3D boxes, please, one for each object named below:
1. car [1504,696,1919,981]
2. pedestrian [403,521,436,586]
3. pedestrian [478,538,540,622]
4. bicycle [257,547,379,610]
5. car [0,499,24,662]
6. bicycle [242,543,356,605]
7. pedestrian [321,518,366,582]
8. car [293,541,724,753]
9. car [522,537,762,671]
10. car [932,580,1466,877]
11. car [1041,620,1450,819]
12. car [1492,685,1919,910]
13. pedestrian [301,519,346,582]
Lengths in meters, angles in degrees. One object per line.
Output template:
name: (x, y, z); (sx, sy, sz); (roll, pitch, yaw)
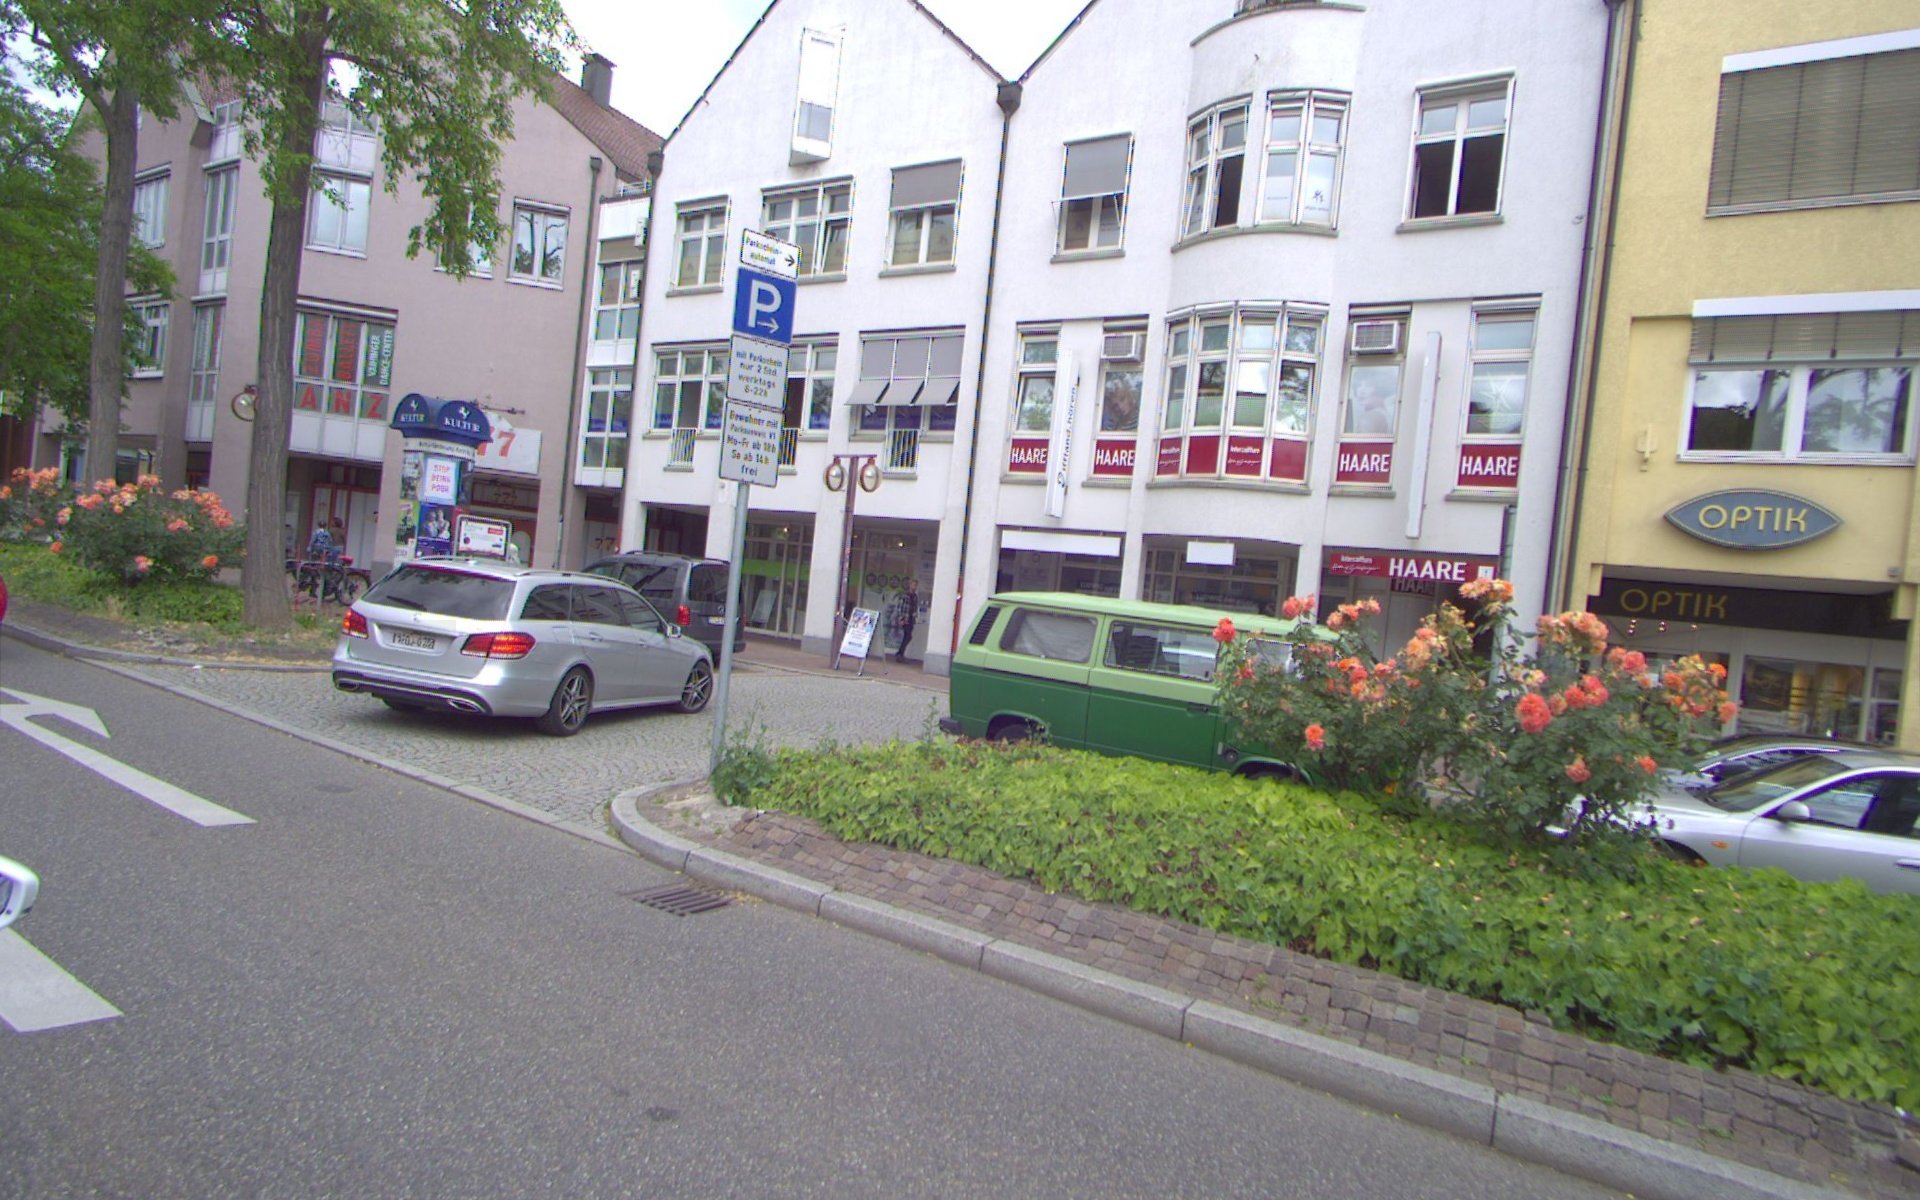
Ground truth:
car: (6.538, 1.772, 7.370); (4.344, 1.468, 1.765); (7, 0, 30)
pedestrian: (-15.083, -1.294, 28.075); (0.631, 1.697, 0.584); (7, 1, -30)
pedestrian: (-9.609, -0.414, 21.443); (0.805, 1.681, 0.789); (7, 3, 31)
bicycle: (-12.496, -0.403, 19.629); (0.460, 1.009, 1.902); (7, 0, 35)
car: (-10.393, -0.410, 9.323); (3.293, 1.459, 1.590); (7, -2, 32)
bicycle: (-13.003, -0.501, 19.830); (0.440, 1.009, 1.769); (7, 0, 35)
pedestrian: (-16.500, -1.324, 26.928); (0.610, 1.583, 0.665); (7, 0, 10)
car: (-4.185, 0.453, 10.295); (1.786, 1.465, 4.373); (8, -1, 9)
car: (-5.655, 0.050, 17.810); (3.898, 1.855, 1.640); (7, 1, 27)
car: (2.224, 1.020, 9.747); (4.527, 1.900, 1.882); (7, 1, 30)
car: (3.385, 1.284, 12.144); (4.319, 1.562, 1.798); (7, 1, 30)
car: (7.760, 1.863, 9.852); (4.344, 1.394, 1.999); (7, 1, 30)
pedestrian: (-16.624, -1.277, 26.289); (0.610, 1.534, 0.612); (7, 0, 10)
